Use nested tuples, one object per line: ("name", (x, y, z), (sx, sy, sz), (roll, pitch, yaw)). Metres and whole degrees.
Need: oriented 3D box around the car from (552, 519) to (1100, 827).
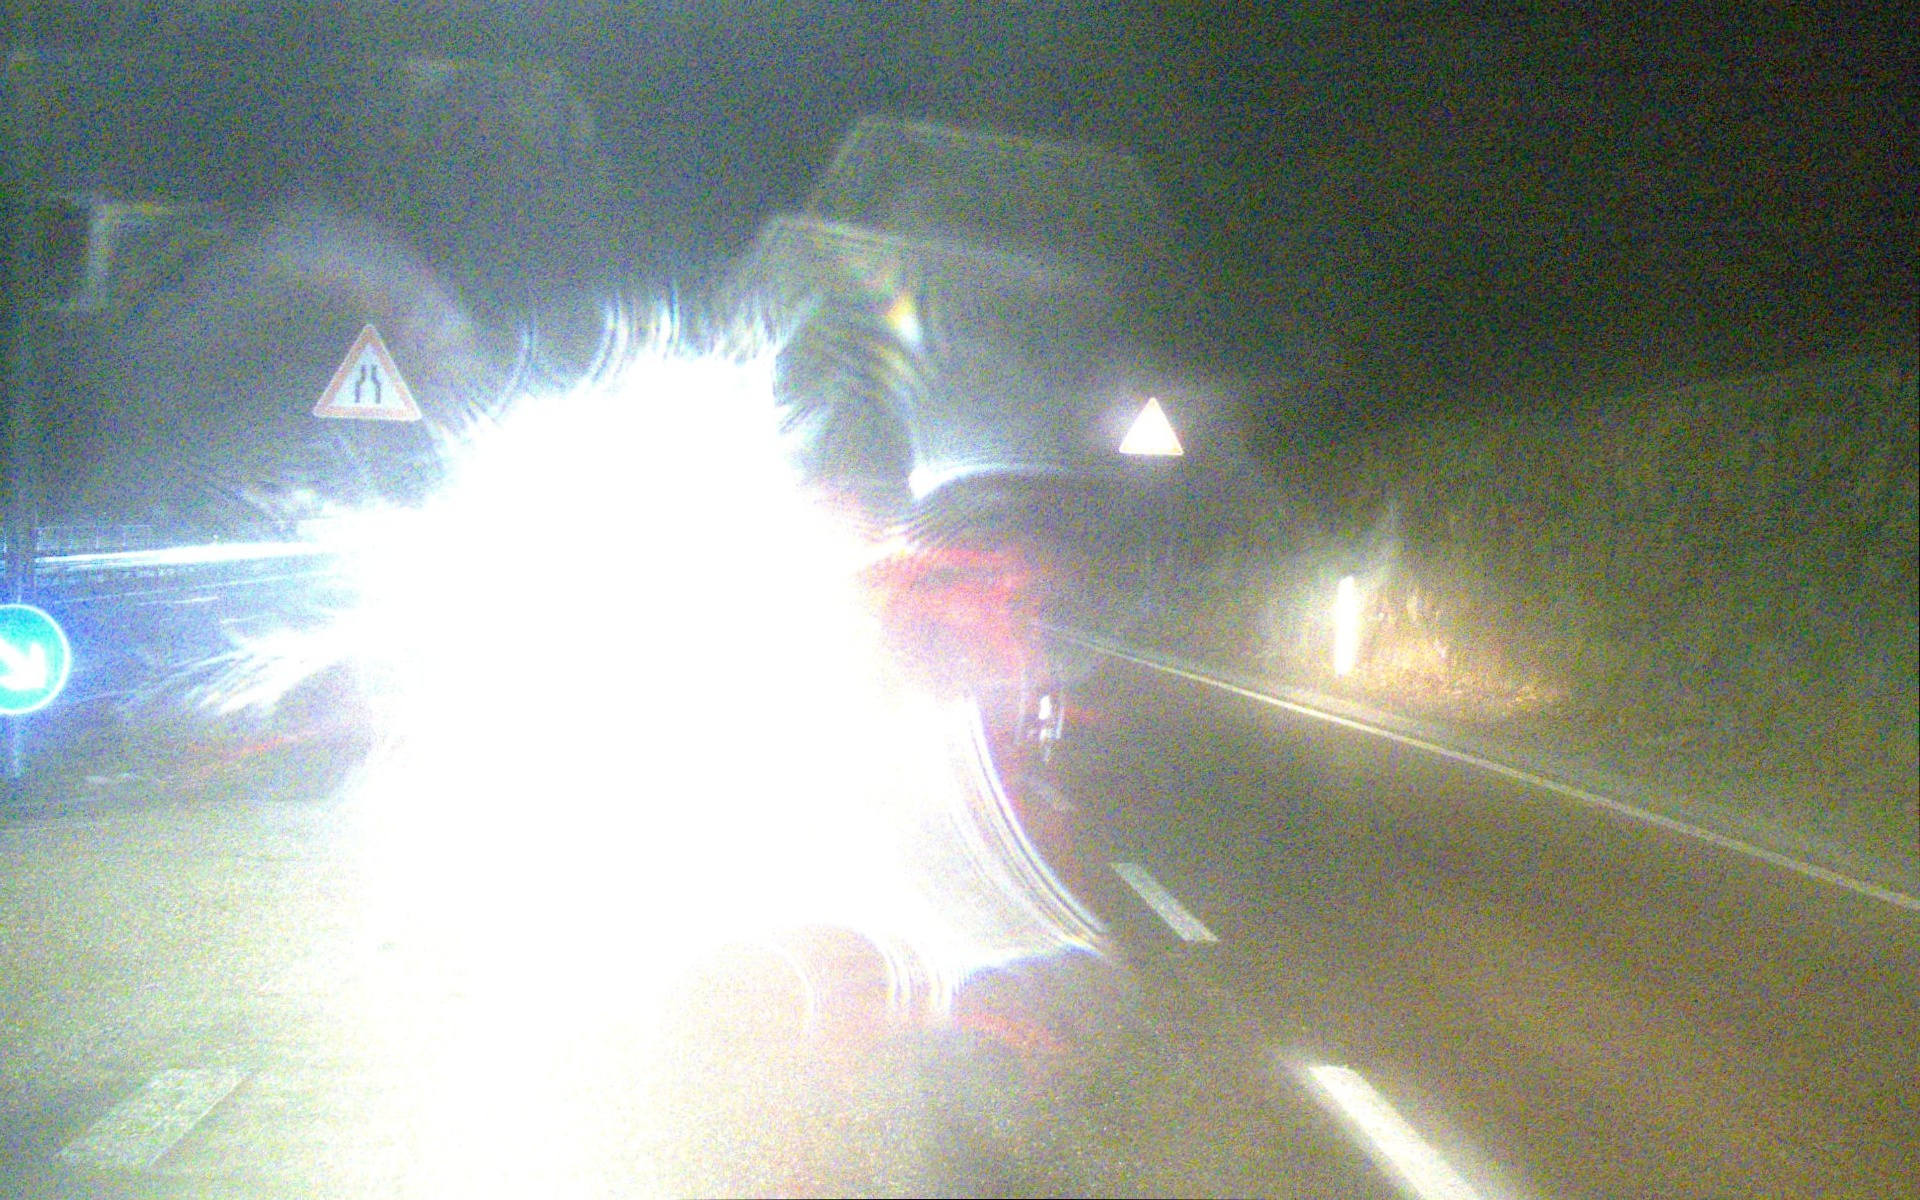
("car", (-0.627, 0.312, 19.636), (1.513, 1.513, 4.370), (1, 2, 21))
